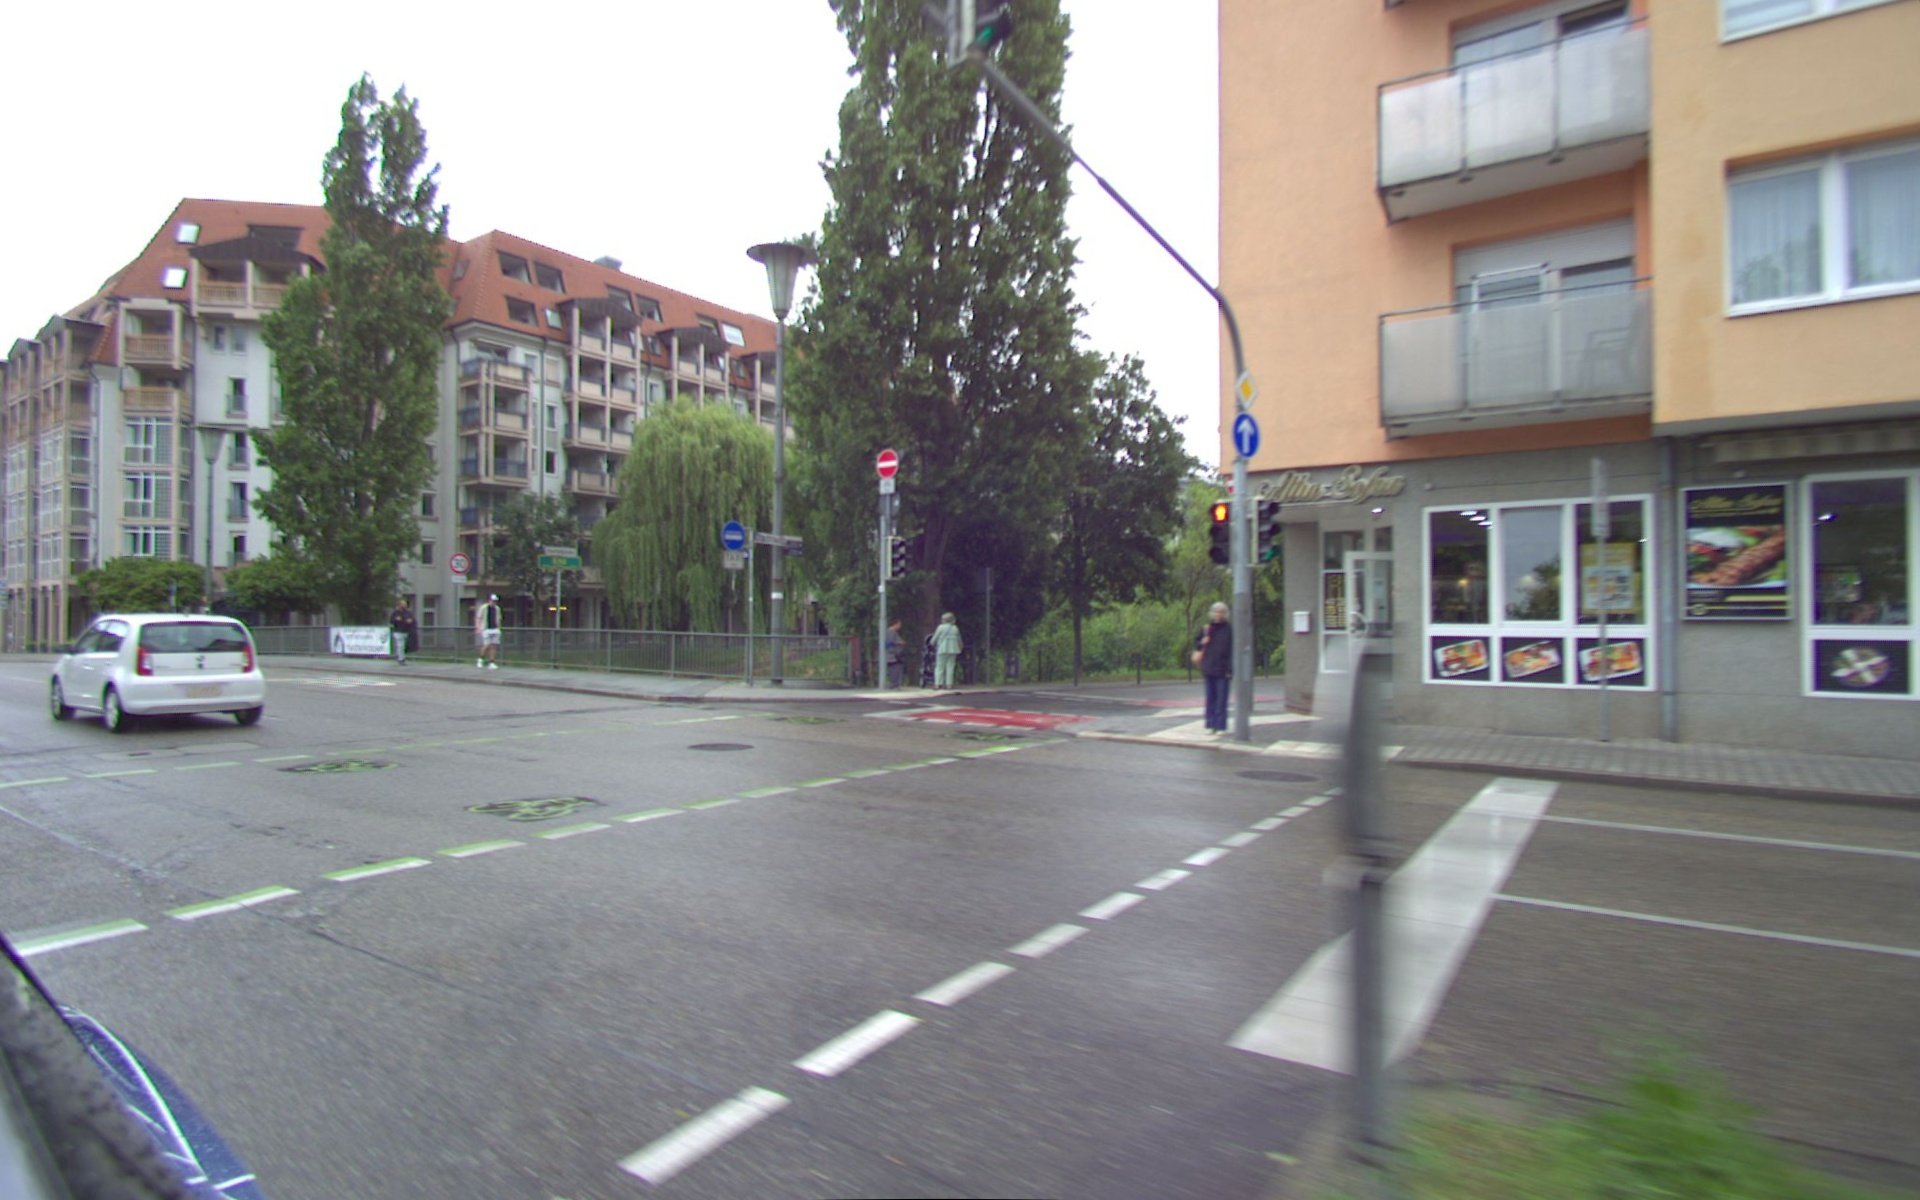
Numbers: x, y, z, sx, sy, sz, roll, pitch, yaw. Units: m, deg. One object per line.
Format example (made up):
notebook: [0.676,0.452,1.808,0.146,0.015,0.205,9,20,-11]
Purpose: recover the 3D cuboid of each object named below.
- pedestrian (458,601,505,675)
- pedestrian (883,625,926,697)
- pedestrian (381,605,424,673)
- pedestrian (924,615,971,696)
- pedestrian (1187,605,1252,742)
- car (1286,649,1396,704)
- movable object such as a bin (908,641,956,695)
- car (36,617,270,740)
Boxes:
pedestrian: [-11.985,0.940,25.357,0.811,1.807,0.789,-1,-1,38]
pedestrian: [-1.171,1.270,21.162,0.643,1.456,0.802,2,-2,-21]
pedestrian: [-15.159,1.046,27.513,0.957,1.807,0.691,-1,-1,38]
pedestrian: [-0.264,1.169,21.412,0.786,1.676,0.623,2,-2,-19]
pedestrian: [3.423,0.950,13.353,0.648,1.740,0.525,-2,-2,40]
car: [10.769,2.083,28.457,1.895,1.398,3.950,-1,-3,36]
movable object such as a bin: [-0.614,1.468,22.096,0.786,1.120,0.887,2,-1,-20]
car: [-11.017,0.977,13.760,3.537,1.461,1.639,-1,-2,37]
